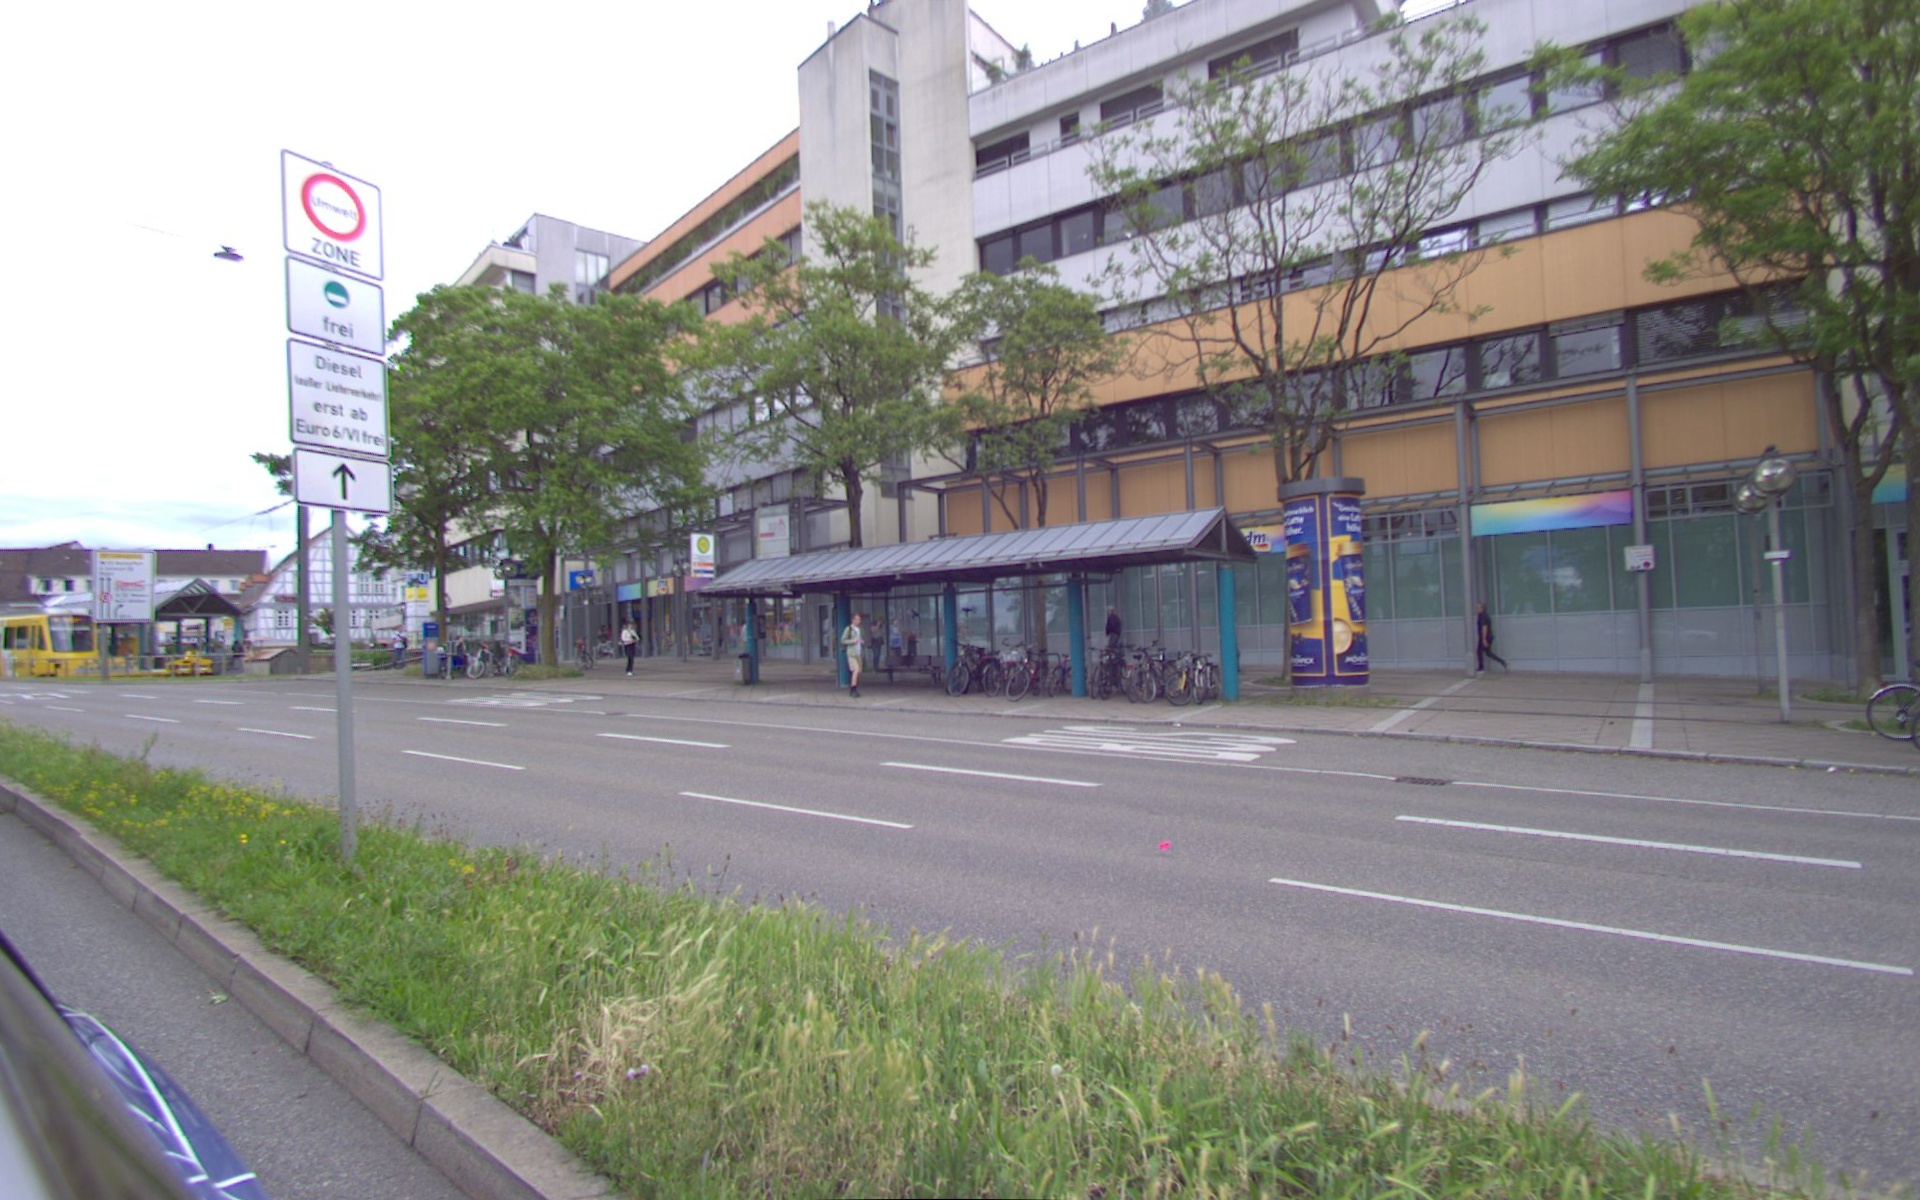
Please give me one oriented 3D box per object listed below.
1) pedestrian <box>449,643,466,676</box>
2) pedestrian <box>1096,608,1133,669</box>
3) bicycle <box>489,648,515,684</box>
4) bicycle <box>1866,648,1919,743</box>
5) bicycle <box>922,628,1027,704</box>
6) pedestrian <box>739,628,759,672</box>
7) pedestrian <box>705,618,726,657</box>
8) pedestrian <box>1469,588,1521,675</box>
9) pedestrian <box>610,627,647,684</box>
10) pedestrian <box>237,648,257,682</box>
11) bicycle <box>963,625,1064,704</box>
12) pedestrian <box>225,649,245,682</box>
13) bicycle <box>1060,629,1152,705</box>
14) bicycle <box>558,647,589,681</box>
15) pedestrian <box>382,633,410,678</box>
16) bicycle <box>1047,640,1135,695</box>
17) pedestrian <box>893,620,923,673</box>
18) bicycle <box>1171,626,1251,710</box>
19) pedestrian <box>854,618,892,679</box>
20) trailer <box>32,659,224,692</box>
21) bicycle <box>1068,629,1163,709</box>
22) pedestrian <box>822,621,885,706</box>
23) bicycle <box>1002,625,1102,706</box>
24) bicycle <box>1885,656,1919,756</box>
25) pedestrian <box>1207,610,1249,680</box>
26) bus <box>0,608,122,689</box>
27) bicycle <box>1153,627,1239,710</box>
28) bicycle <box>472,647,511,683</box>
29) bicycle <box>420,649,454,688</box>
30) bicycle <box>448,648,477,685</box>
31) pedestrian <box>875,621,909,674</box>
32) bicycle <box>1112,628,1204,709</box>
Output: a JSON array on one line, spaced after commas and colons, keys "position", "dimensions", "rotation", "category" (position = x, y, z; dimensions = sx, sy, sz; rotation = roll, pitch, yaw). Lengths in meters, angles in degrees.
[{"position": [-26.453, 3.124, 53.241], "dimensions": [0.626, 1.713, 0.545], "rotation": [-3, -3, 31], "category": "pedestrian"}, {"position": [4.538, 1.128, 29.728], "dimensions": [0.787, 1.729, 0.764], "rotation": [-3, 0, 30], "category": "pedestrian"}, {"position": [-15.207, 2.184, 33.619], "dimensions": [0.594, 1.170, 1.694], "rotation": [-1, -3, -18], "category": "bicycle"}, {"position": [12.422, 1.149, 12.283], "dimensions": [1.946, 1.145, 0.709], "rotation": [-2, -3, 27], "category": "bicycle"}, {"position": [0.373, 1.451, 23.039], "dimensions": [0.969, 1.518, 2.876], "rotation": [-3, -1, 33], "category": "bicycle"}, {"position": [-7.852, 1.856, 37.651], "dimensions": [0.623, 1.612, 0.624], "rotation": [-2, -1, -18], "category": "pedestrian"}, {"position": [-11.072, 1.704, 45.891], "dimensions": [0.666, 1.713, 0.644], "rotation": [-3, -3, 33], "category": "pedestrian"}, {"position": [12.810, 0.751, 24.240], "dimensions": [0.932, 2.029, 0.888], "rotation": [-2, -3, 35], "category": "pedestrian"}, {"position": [-10.484, 1.756, 32.021], "dimensions": [0.705, 1.726, 0.768], "rotation": [-3, 0, 35], "category": "pedestrian"}, {"position": [-34.529, 3.154, 49.024], "dimensions": [0.618, 1.586, 0.594], "rotation": [-3, -3, 31], "category": "pedestrian"}, {"position": [1.243, 1.397, 22.550], "dimensions": [0.889, 1.518, 2.876], "rotation": [-3, 0, 33], "category": "bicycle"}, {"position": [-34.535, 3.116, 48.193], "dimensions": [0.618, 1.586, 0.594], "rotation": [-3, -3, 31], "category": "pedestrian"}, {"position": [3.163, 1.384, 21.636], "dimensions": [0.803, 1.518, 2.876], "rotation": [-3, -3, 32], "category": "bicycle"}, {"position": [-13.855, 2.268, 36.359], "dimensions": [0.663, 1.170, 2.023], "rotation": [-1, -3, -10], "category": "bicycle"}, {"position": [-24.465, 2.404, 43.898], "dimensions": [0.871, 1.892, 0.738], "rotation": [-3, -3, 33], "category": "pedestrian"}, {"position": [2.979, 1.495, 22.732], "dimensions": [0.803, 1.121, 2.876], "rotation": [-3, -3, 32], "category": "bicycle"}, {"position": [-1.621, 1.449, 31.455], "dimensions": [0.622, 1.612, 0.626], "rotation": [-3, -1, 38], "category": "pedestrian"}, {"position": [4.925, 1.270, 19.699], "dimensions": [0.597, 1.518, 2.876], "rotation": [-3, -3, 32], "category": "bicycle"}, {"position": [-2.572, 1.426, 29.891], "dimensions": [0.763, 1.729, 0.789], "rotation": [-2, 0, -32], "category": "pedestrian"}, {"position": [-39.084, 3.539, 47.356], "dimensions": [12.074, 1.343, 2.821], "rotation": [-3, -3, 29], "category": "trailer"}, {"position": [3.242, 1.365, 20.759], "dimensions": [0.803, 1.518, 2.876], "rotation": [-3, -3, 32], "category": "bicycle"}, {"position": [-2.404, 1.401, 22.776], "dimensions": [1.212, 1.836, 0.697], "rotation": [-2, 0, 38], "category": "pedestrian"}, {"position": [2.042, 1.375, 21.981], "dimensions": [0.809, 1.518, 2.875], "rotation": [-3, 0, 34], "category": "bicycle"}, {"position": [11.826, 1.183, 11.354], "dimensions": [1.927, 1.092, 0.825], "rotation": [-2, -3, 28], "category": "bicycle"}, {"position": [6.839, 1.140, 25.800], "dimensions": [0.787, 1.729, 0.764], "rotation": [-3, 0, 32], "category": "pedestrian"}, {"position": [-52.833, 2.822, 55.593], "dimensions": [19.259, 3.889, 3.851], "rotation": [-3, -3, 30], "category": "bus"}, {"position": [4.677, 1.289, 19.873], "dimensions": [0.698, 1.518, 2.876], "rotation": [-3, -3, 32], "category": "bicycle"}, {"position": [-16.110, 2.229, 34.778], "dimensions": [1.966, 1.170, 0.596], "rotation": [-4, -4, 45], "category": "bicycle"}, {"position": [-17.426, 2.271, 33.769], "dimensions": [0.594, 1.170, 1.971], "rotation": [-3, -1, -17], "category": "bicycle"}, {"position": [-16.559, 2.208, 33.715], "dimensions": [0.594, 1.170, 1.971], "rotation": [-1, -3, -17], "category": "bicycle"}, {"position": [-2.077, 1.451, 30.969], "dimensions": [0.705, 1.595, 0.660], "rotation": [-3, 0, 35], "category": "pedestrian"}, {"position": [4.003, 1.322, 20.272], "dimensions": [0.776, 1.518, 2.876], "rotation": [-3, -3, 32], "category": "bicycle"}]
